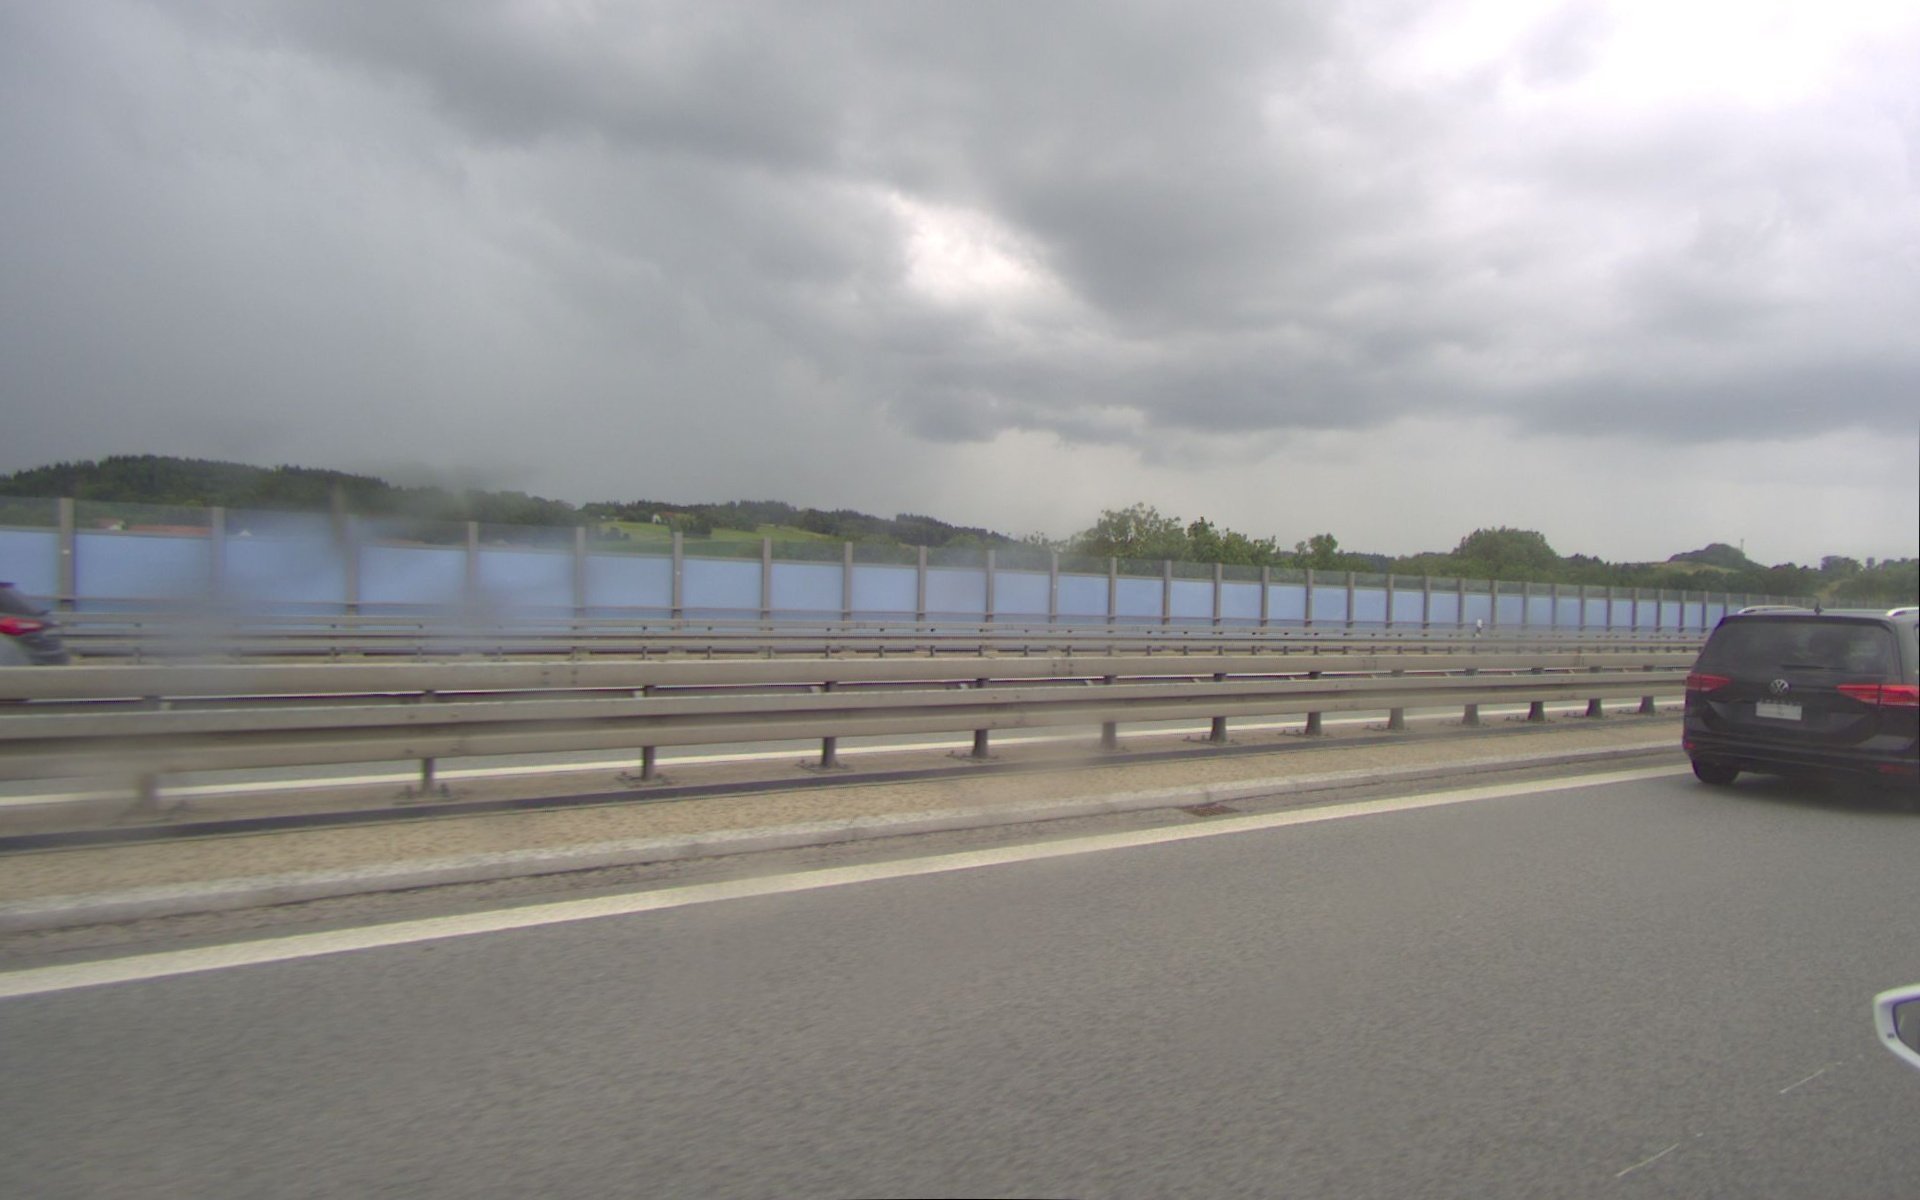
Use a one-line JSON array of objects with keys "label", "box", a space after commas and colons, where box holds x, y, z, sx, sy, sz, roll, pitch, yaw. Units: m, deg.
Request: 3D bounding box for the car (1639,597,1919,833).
[{"label": "car", "box": [8.786, 0.882, 9.478, 5.335, 1.693, 1.886, 1, 0, -31]}]

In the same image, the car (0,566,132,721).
[{"label": "car", "box": [-11.215, 0.389, 10.022, 4.237, 1.535, 1.984, 1, 0, -30]}]
